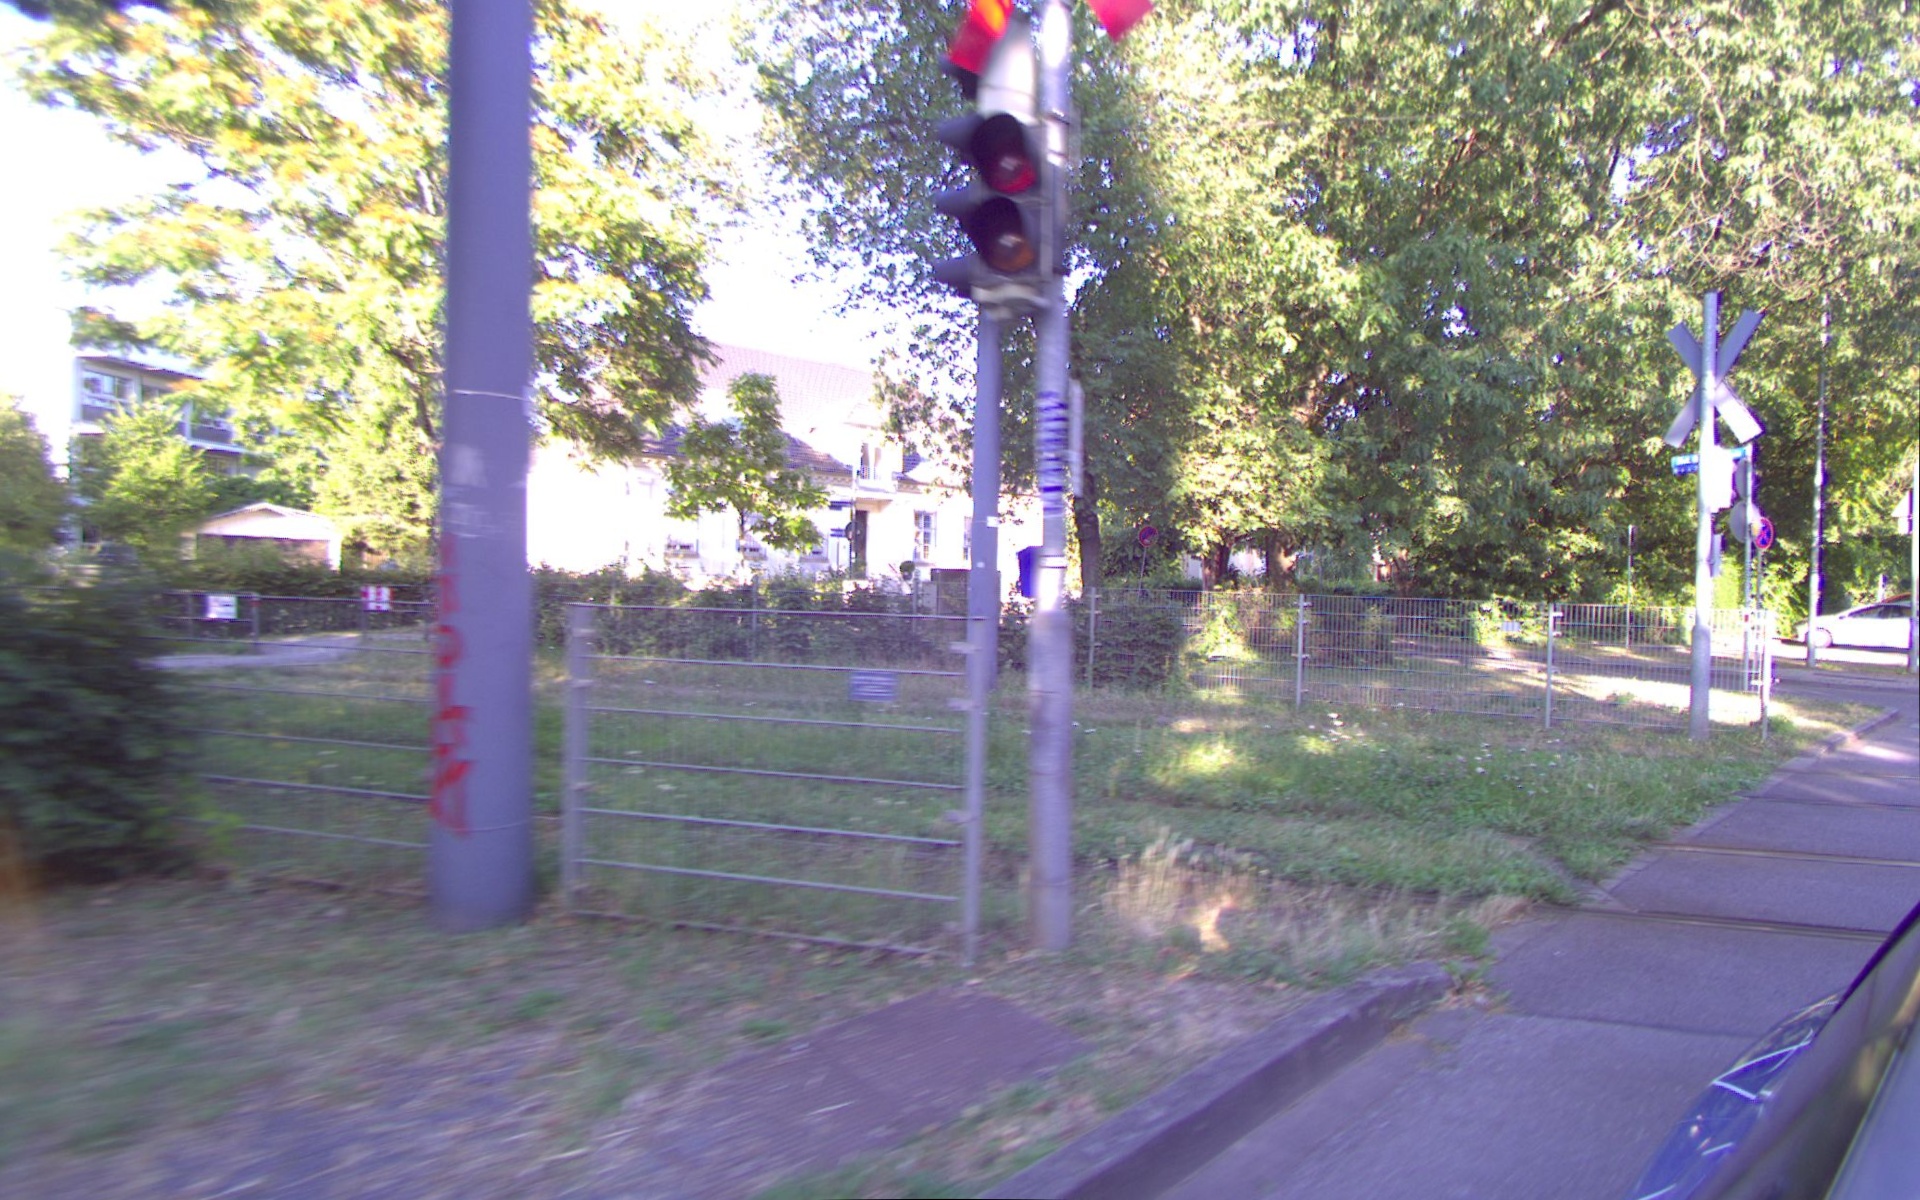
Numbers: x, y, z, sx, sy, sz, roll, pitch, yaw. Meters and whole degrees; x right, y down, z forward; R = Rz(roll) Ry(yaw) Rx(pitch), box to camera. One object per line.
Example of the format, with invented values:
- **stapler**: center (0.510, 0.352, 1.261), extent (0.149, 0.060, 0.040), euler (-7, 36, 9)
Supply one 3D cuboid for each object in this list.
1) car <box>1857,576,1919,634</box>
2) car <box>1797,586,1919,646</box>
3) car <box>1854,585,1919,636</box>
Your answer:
- **car**: center (36.180, 0.254, 36.920), extent (2.043, 2.022, 4.809), euler (0, 4, -39)
- **car**: center (27.916, 0.496, 30.364), extent (1.704, 1.565, 3.998), euler (0, 4, -39)
- **car**: center (33.885, 0.409, 35.511), extent (1.647, 1.651, 3.409), euler (0, 3, -35)
